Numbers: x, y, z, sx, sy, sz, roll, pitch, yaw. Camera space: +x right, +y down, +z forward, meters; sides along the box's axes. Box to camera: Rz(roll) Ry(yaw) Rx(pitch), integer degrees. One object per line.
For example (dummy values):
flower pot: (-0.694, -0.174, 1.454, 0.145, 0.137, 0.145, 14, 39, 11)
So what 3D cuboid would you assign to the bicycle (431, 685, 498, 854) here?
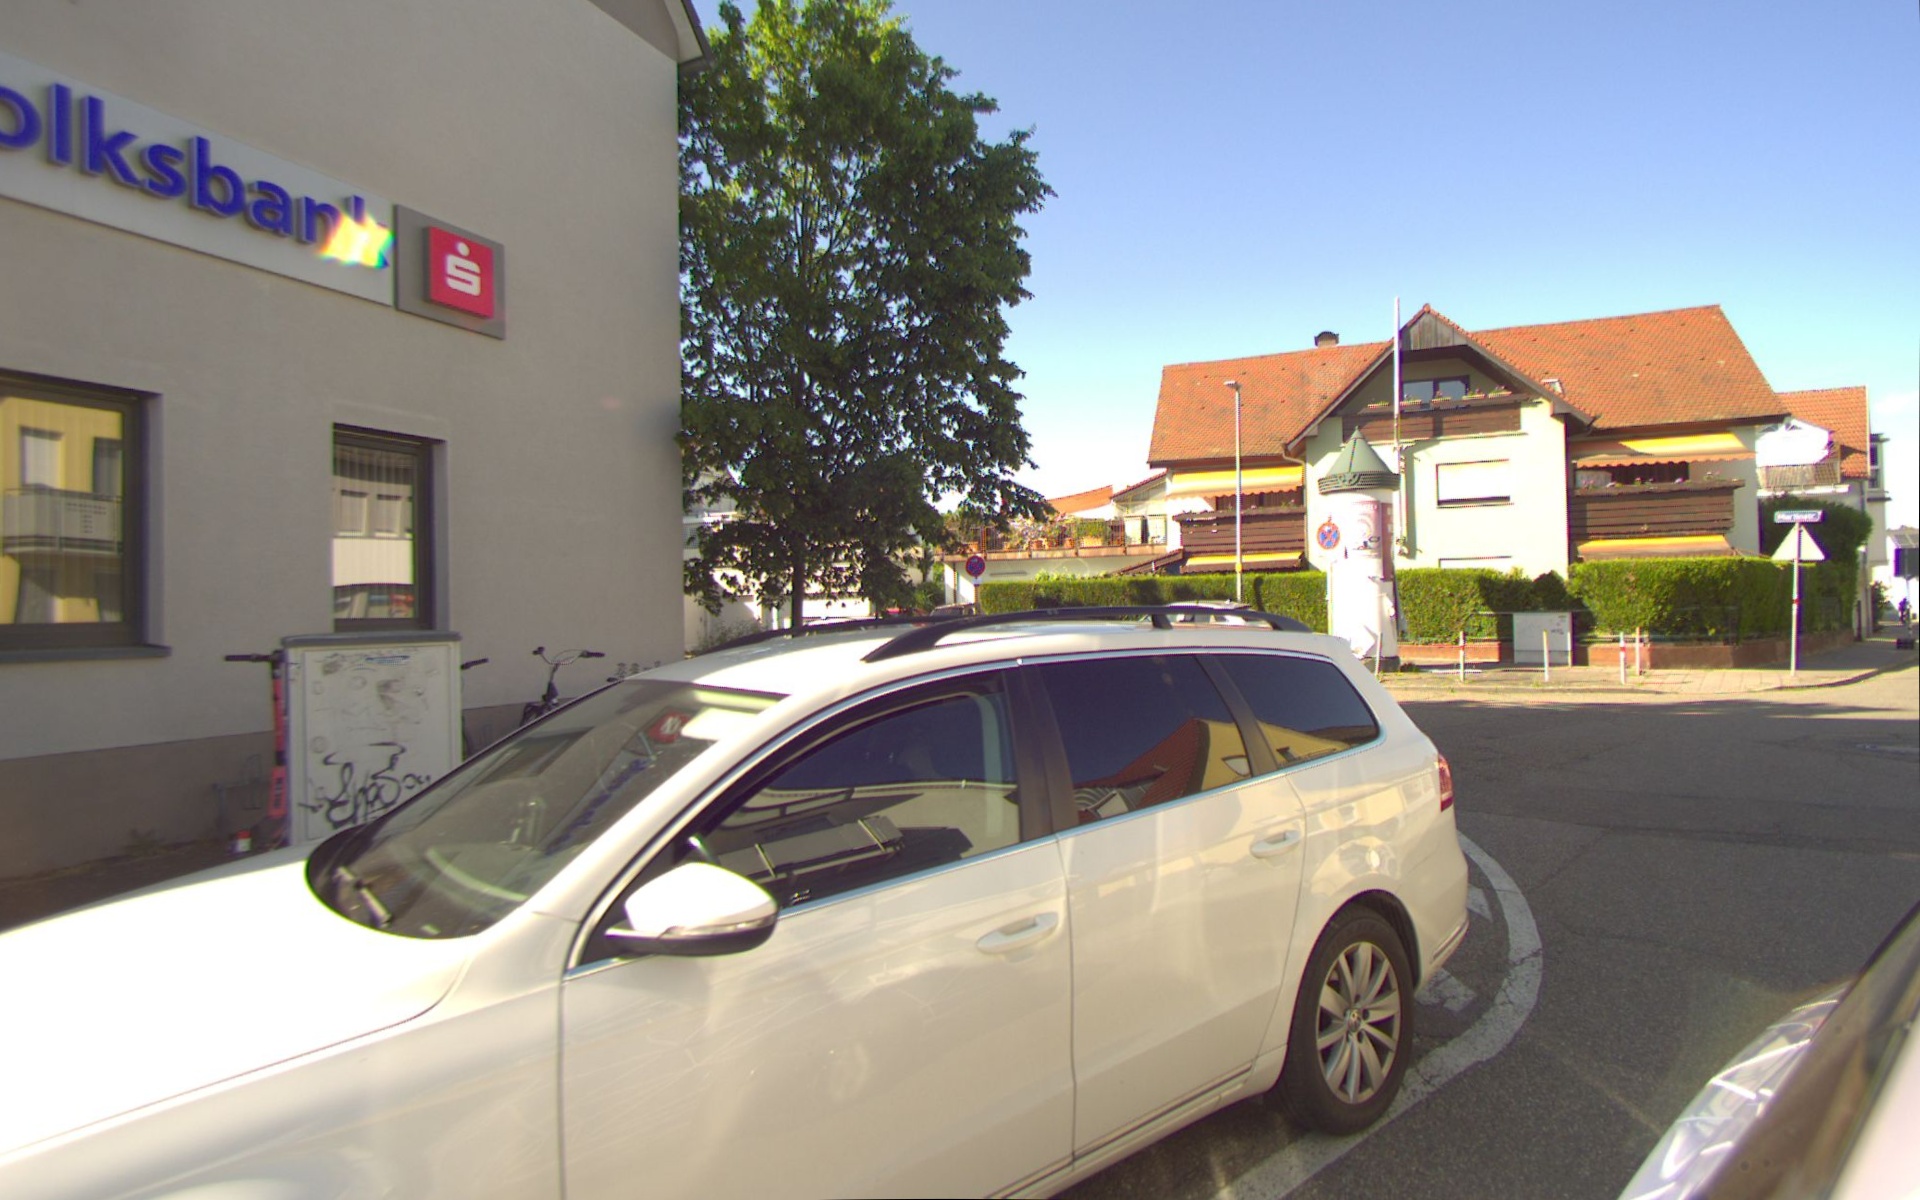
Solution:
bicycle: (-3.285, 1.070, 6.676, 0.307, 0.932, 1.167, 0, -1, -31)

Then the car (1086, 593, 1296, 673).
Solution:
car: (5.156, 0.697, 22.873, 4.279, 1.613, 1.791, -1, 1, 37)

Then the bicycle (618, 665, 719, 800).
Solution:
bicycle: (-2.305, 1.000, 7.946, 0.308, 0.932, 1.164, 0, -1, -41)

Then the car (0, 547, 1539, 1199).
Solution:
car: (-0.382, 0.723, 2.854, 4.422, 1.533, 1.851, 0, -2, -37)

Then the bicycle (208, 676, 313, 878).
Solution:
bicycle: (-4.106, 0.987, 5.992, 0.313, 0.988, 1.228, 0, -1, -25)

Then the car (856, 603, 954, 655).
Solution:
car: (-1.722, 0.912, 33.000, 1.680, 1.518, 3.693, -1, 1, 24)

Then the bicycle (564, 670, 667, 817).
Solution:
bicycle: (-2.540, 1.010, 7.408, 0.308, 0.932, 1.164, 0, -1, -41)

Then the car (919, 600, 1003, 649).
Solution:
car: (0.108, 0.864, 36.658, 1.680, 1.589, 3.693, -1, 1, 24)

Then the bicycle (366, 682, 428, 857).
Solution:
bicycle: (-3.592, 1.027, 6.433, 0.307, 0.932, 1.167, 0, -1, -31)

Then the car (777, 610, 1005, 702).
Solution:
car: (-1.382, 0.960, 18.901, 4.286, 1.513, 1.787, -1, -1, 42)
